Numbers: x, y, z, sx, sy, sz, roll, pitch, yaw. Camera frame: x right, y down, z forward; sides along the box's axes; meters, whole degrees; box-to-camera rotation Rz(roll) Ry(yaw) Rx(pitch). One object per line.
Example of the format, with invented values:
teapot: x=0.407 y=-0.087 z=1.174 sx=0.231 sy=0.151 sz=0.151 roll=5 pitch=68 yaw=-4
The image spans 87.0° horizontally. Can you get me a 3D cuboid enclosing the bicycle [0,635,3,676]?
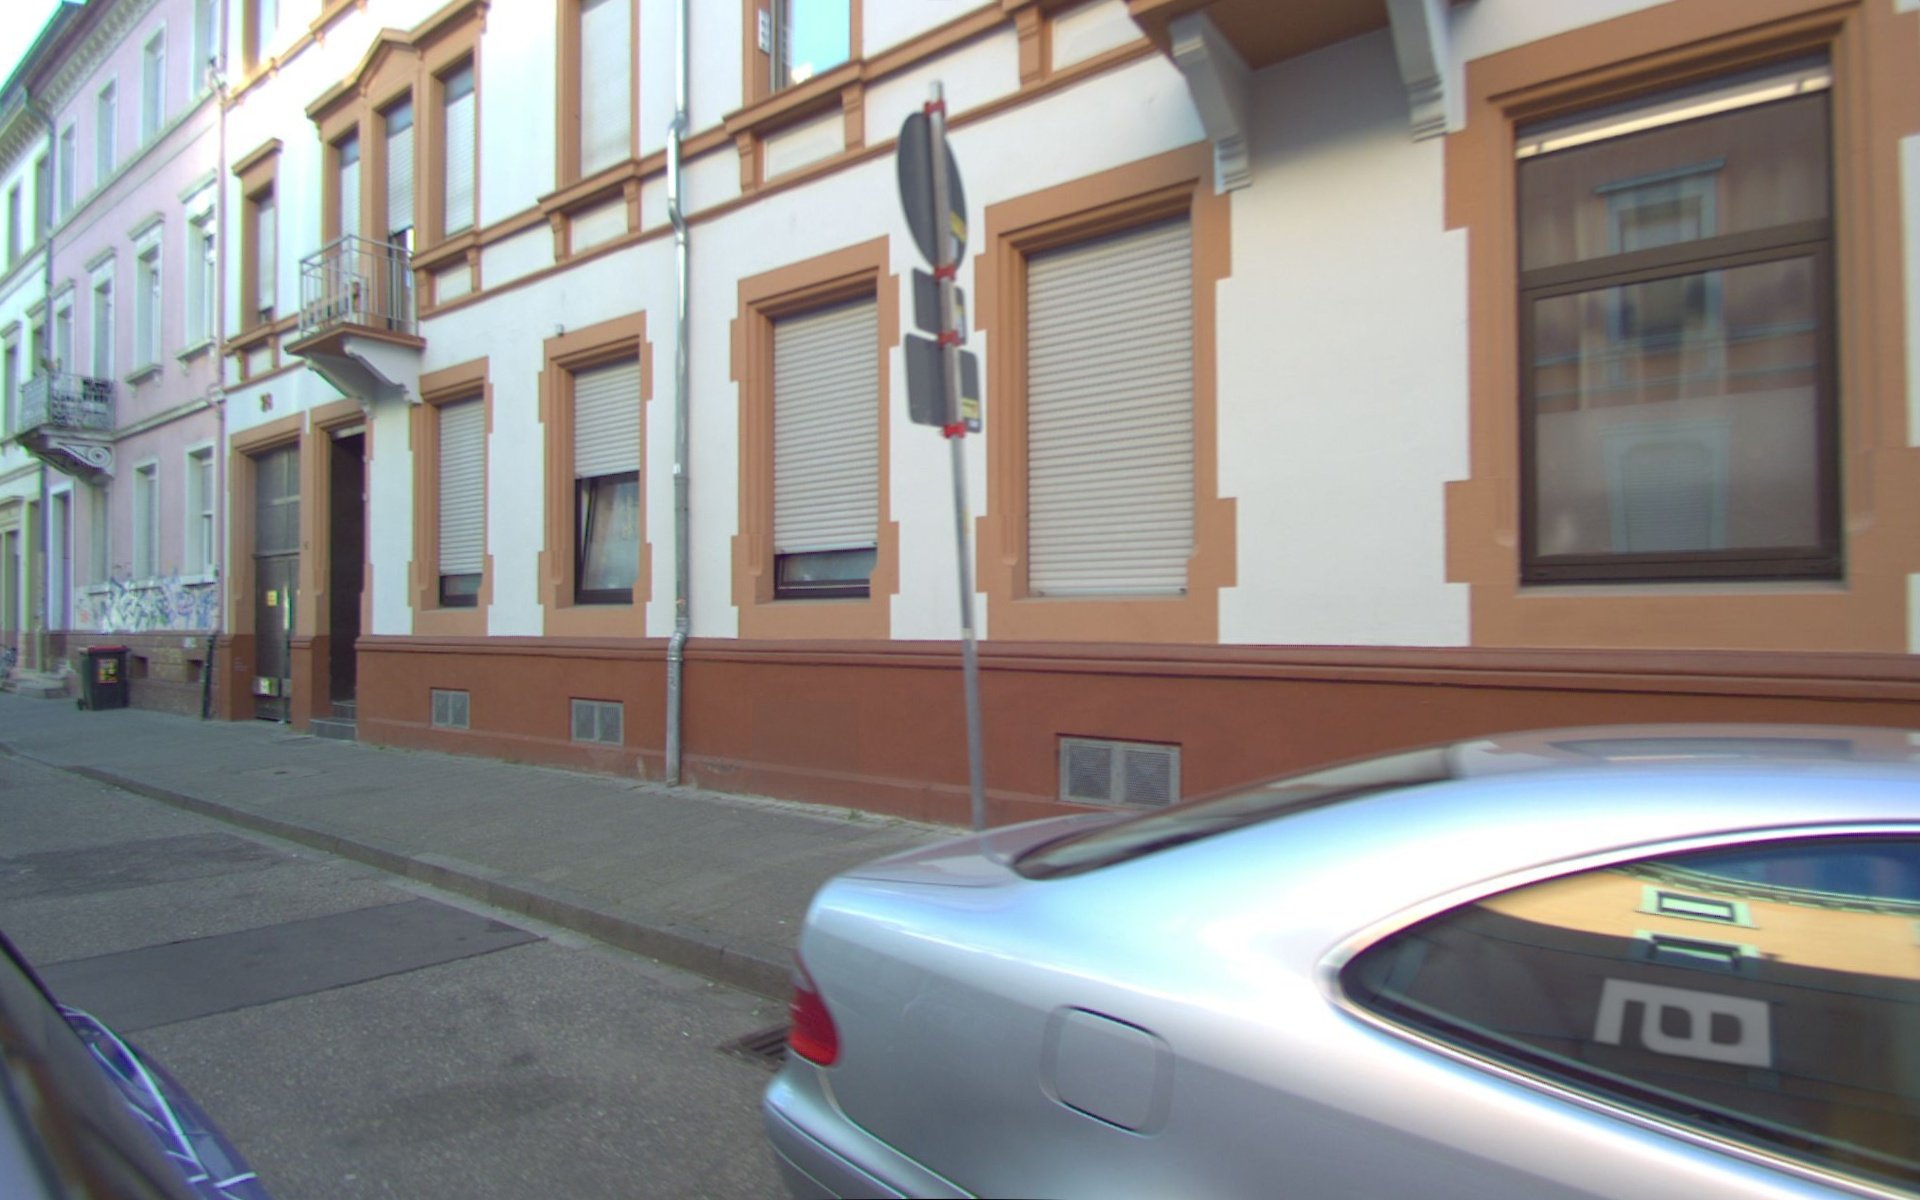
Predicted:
bicycle: x=-33.269 y=1.860 z=33.294 sx=0.927 sy=1.369 sz=2.453 roll=-1 pitch=-2 yaw=37

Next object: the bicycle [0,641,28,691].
bicycle: x=-20.813 y=1.420 z=21.910 sx=1.815 sy=1.030 sz=0.616 roll=-2 pitch=-1 yaw=37

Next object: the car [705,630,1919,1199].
car: x=1.861 y=0.766 z=1.125 sx=4.497 sy=1.394 sz=1.695 roll=-1 pitch=-3 yaw=36

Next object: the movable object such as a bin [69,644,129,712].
movable object such as a bin: x=-13.944 y=1.247 z=16.393 sx=0.595 sy=1.043 sz=0.600 roll=-1 pitch=0 yaw=35
